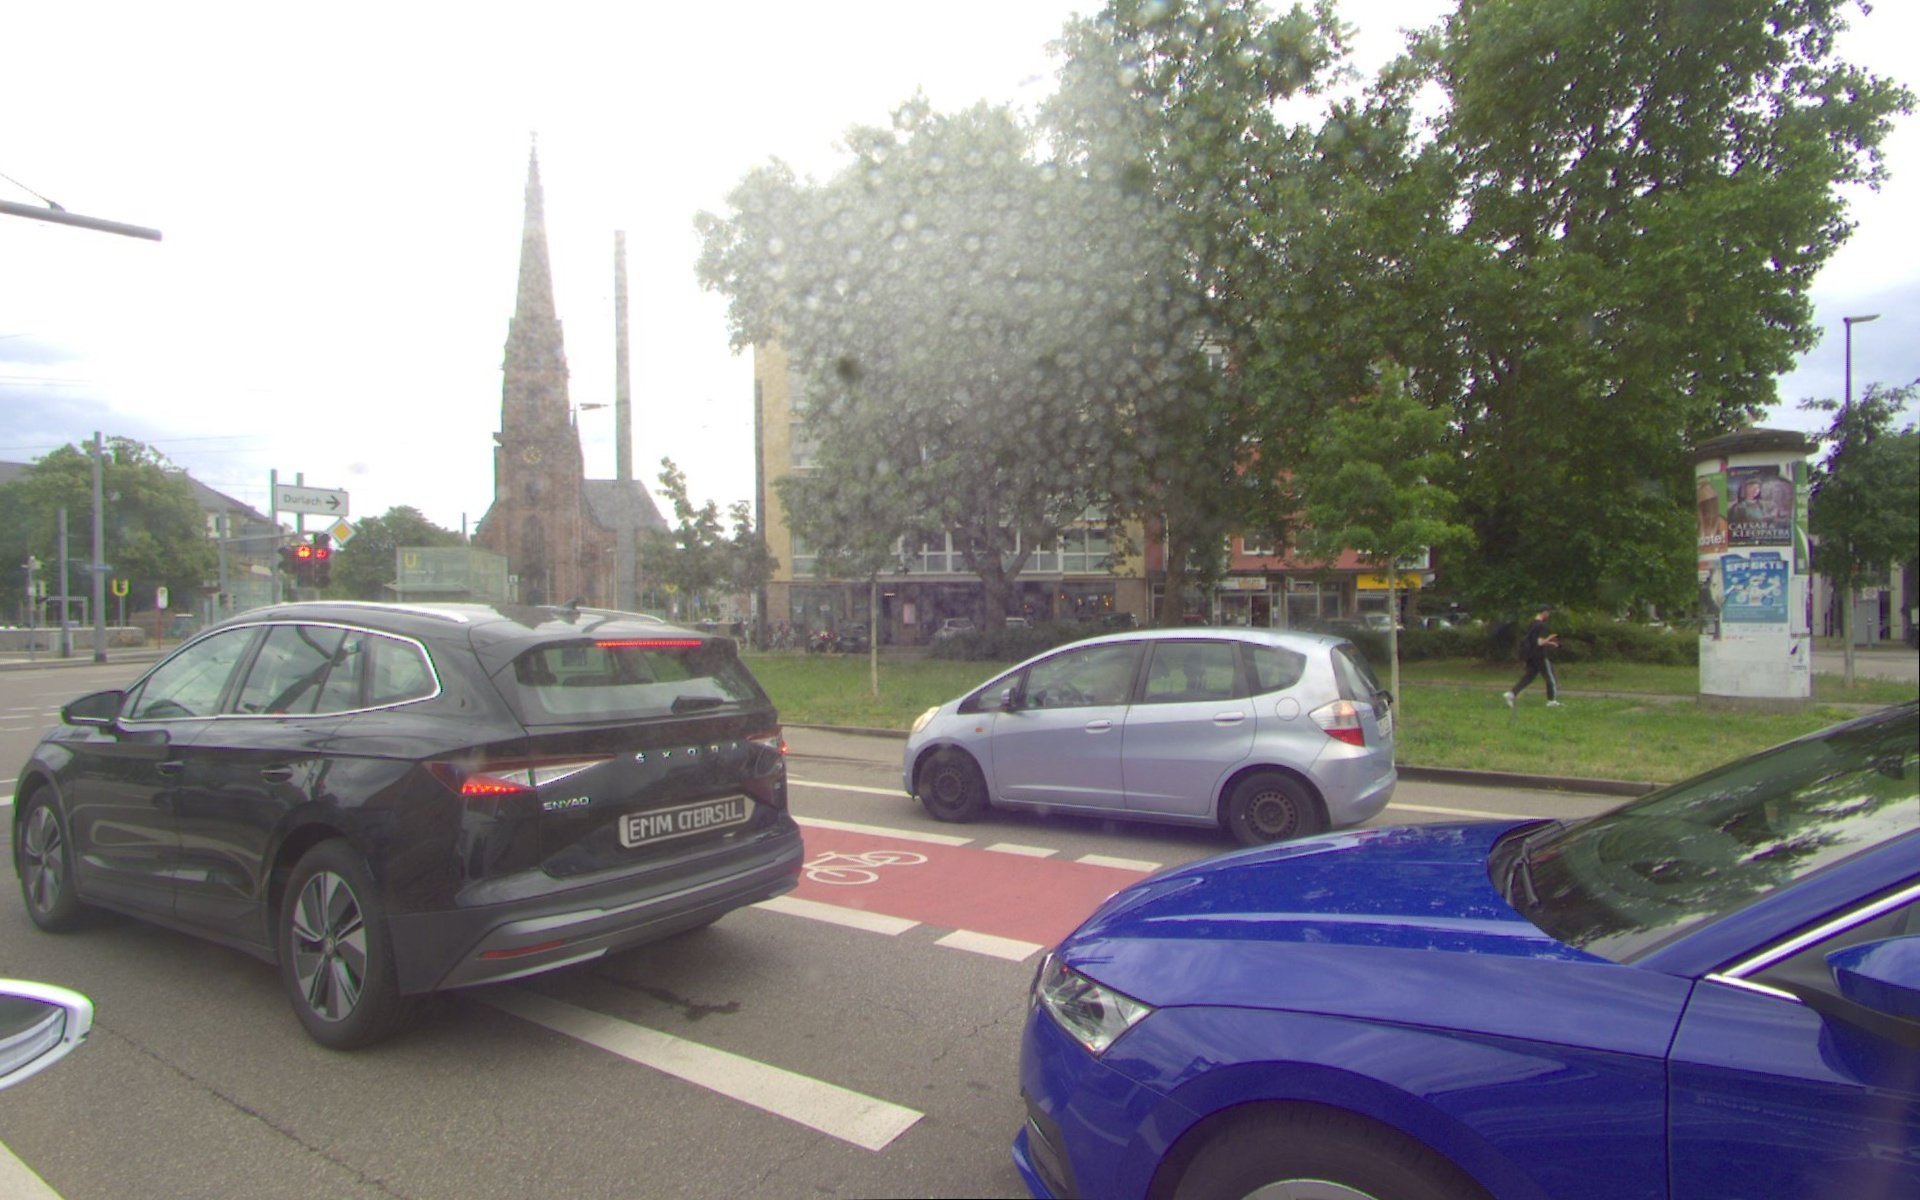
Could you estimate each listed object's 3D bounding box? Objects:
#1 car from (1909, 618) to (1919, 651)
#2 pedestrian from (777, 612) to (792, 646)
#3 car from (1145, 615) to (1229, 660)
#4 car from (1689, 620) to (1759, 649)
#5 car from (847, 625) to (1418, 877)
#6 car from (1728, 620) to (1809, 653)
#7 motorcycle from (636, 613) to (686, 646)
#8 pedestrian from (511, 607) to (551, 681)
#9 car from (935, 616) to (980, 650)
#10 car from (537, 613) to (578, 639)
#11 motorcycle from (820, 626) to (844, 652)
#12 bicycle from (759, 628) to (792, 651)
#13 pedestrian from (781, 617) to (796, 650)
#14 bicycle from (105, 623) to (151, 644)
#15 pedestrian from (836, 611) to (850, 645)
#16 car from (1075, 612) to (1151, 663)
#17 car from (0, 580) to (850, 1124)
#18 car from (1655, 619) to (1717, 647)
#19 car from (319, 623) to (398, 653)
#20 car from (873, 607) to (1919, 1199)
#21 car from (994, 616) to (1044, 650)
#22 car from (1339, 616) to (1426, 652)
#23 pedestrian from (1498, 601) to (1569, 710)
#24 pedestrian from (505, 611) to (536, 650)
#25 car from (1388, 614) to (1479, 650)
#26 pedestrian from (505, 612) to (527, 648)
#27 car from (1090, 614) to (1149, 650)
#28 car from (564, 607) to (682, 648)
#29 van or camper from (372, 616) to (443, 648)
[{"bbox_3d":[46.503,1.593,46.346,1.865,1.568,4.469,-2,-1,17],"label":"car"},{"bbox_3d":[-8.583,1.425,48.999,0.625,1.659,0.872,0,0,0],"label":"pedestrian"},{"bbox_3d":[8.232,1.336,36.675,1.825,1.568,4.476,0,-1,-3],"label":"car"},{"bbox_3d":[45.361,2.021,59.560,1.828,1.644,4.469,-2,-1,17],"label":"car"},{"bbox_3d":[1.251,0.950,7.798,4.039,1.486,1.746,-1,-1,32],"label":"car"},{"bbox_3d":[43.525,1.944,54.022,1.828,1.644,4.469,-2,-1,17],"label":"car"},{"bbox_3d":[-11.118,1.085,37.335,0.753,1.183,2.385,0,-1,12],"label":"motorcycle"},{"bbox_3d":[-11.456,1.159,26.770,0.874,1.956,1.016,0,0,-16],"label":"pedestrian"},{"bbox_3d":[-0.151,1.490,46.153,1.825,1.509,4.476,0,-1,-3],"label":"car"},{"bbox_3d":[-32.562,2.049,81.046,1.961,2.040,4.000,0,-1,-5],"label":"car"},{"bbox_3d":[-5.019,1.515,39.353,0.858,1.010,1.014,0,-1,-12],"label":"motorcycle"},{"bbox_3d":[-7.451,1.593,40.457,1.240,0.929,0.595,0,0,2],"label":"bicycle"},{"bbox_3d":[-8.681,1.674,50.736,0.625,1.659,0.872,0,0,-1],"label":"pedestrian"},{"bbox_3d":[-55.436,2.226,66.740,0.699,1.348,2.252,-2,-1,39],"label":"bicycle"},{"bbox_3d":[-5.827,1.400,49.906,0.625,1.659,0.872,0,0,0],"label":"pedestrian"},{"bbox_3d":[5.497,1.320,36.477,1.825,1.745,4.476,0,-1,-3],"label":"car"},{"bbox_3d":[-2.844,0.792,4.902,4.444,1.617,1.774,-1,-1,31],"label":"car"},{"bbox_3d":[46.794,2.099,64.602,1.828,1.644,4.469,-2,-1,17],"label":"car"},{"bbox_3d":[-32.250,2.021,53.835,1.740,1.483,4.001,-2,-1,1],"label":"car"},{"bbox_3d":[2.147,0.760,1.679,4.402,1.508,1.776,-1,-1,32],"label":"car"},{"bbox_3d":[2.666,1.500,46.200,1.825,1.509,4.476,0,-1,-3],"label":"car"},{"bbox_3d":[19.507,1.531,46.448,1.825,1.568,4.476,0,-1,-5],"label":"car"},{"bbox_3d":[10.086,0.957,17.617,0.968,1.868,0.536,0,0,-11],"label":"pedestrian"},{"bbox_3d":[-21.086,1.453,48.056,1.066,1.820,0.947,-1,-1,-2],"label":"pedestrian"},{"bbox_3d":[21.973,1.467,46.683,1.825,1.568,4.476,0,-1,-5],"label":"car"},{"bbox_3d":[-20.533,1.391,46.335,0.625,1.659,0.872,0,0,-1],"label":"pedestrian"},{"bbox_3d":[7.379,1.456,46.696,1.825,1.568,4.476,0,-1,-3],"label":"car"},{"bbox_3d":[-18.100,1.476,53.943,5.674,2.039,2.011,-1,-1,-40],"label":"car"},{"bbox_3d":[-33.024,1.887,60.003,1.961,1.764,4.305,-2,-1,-3],"label":"van or camper"}]
